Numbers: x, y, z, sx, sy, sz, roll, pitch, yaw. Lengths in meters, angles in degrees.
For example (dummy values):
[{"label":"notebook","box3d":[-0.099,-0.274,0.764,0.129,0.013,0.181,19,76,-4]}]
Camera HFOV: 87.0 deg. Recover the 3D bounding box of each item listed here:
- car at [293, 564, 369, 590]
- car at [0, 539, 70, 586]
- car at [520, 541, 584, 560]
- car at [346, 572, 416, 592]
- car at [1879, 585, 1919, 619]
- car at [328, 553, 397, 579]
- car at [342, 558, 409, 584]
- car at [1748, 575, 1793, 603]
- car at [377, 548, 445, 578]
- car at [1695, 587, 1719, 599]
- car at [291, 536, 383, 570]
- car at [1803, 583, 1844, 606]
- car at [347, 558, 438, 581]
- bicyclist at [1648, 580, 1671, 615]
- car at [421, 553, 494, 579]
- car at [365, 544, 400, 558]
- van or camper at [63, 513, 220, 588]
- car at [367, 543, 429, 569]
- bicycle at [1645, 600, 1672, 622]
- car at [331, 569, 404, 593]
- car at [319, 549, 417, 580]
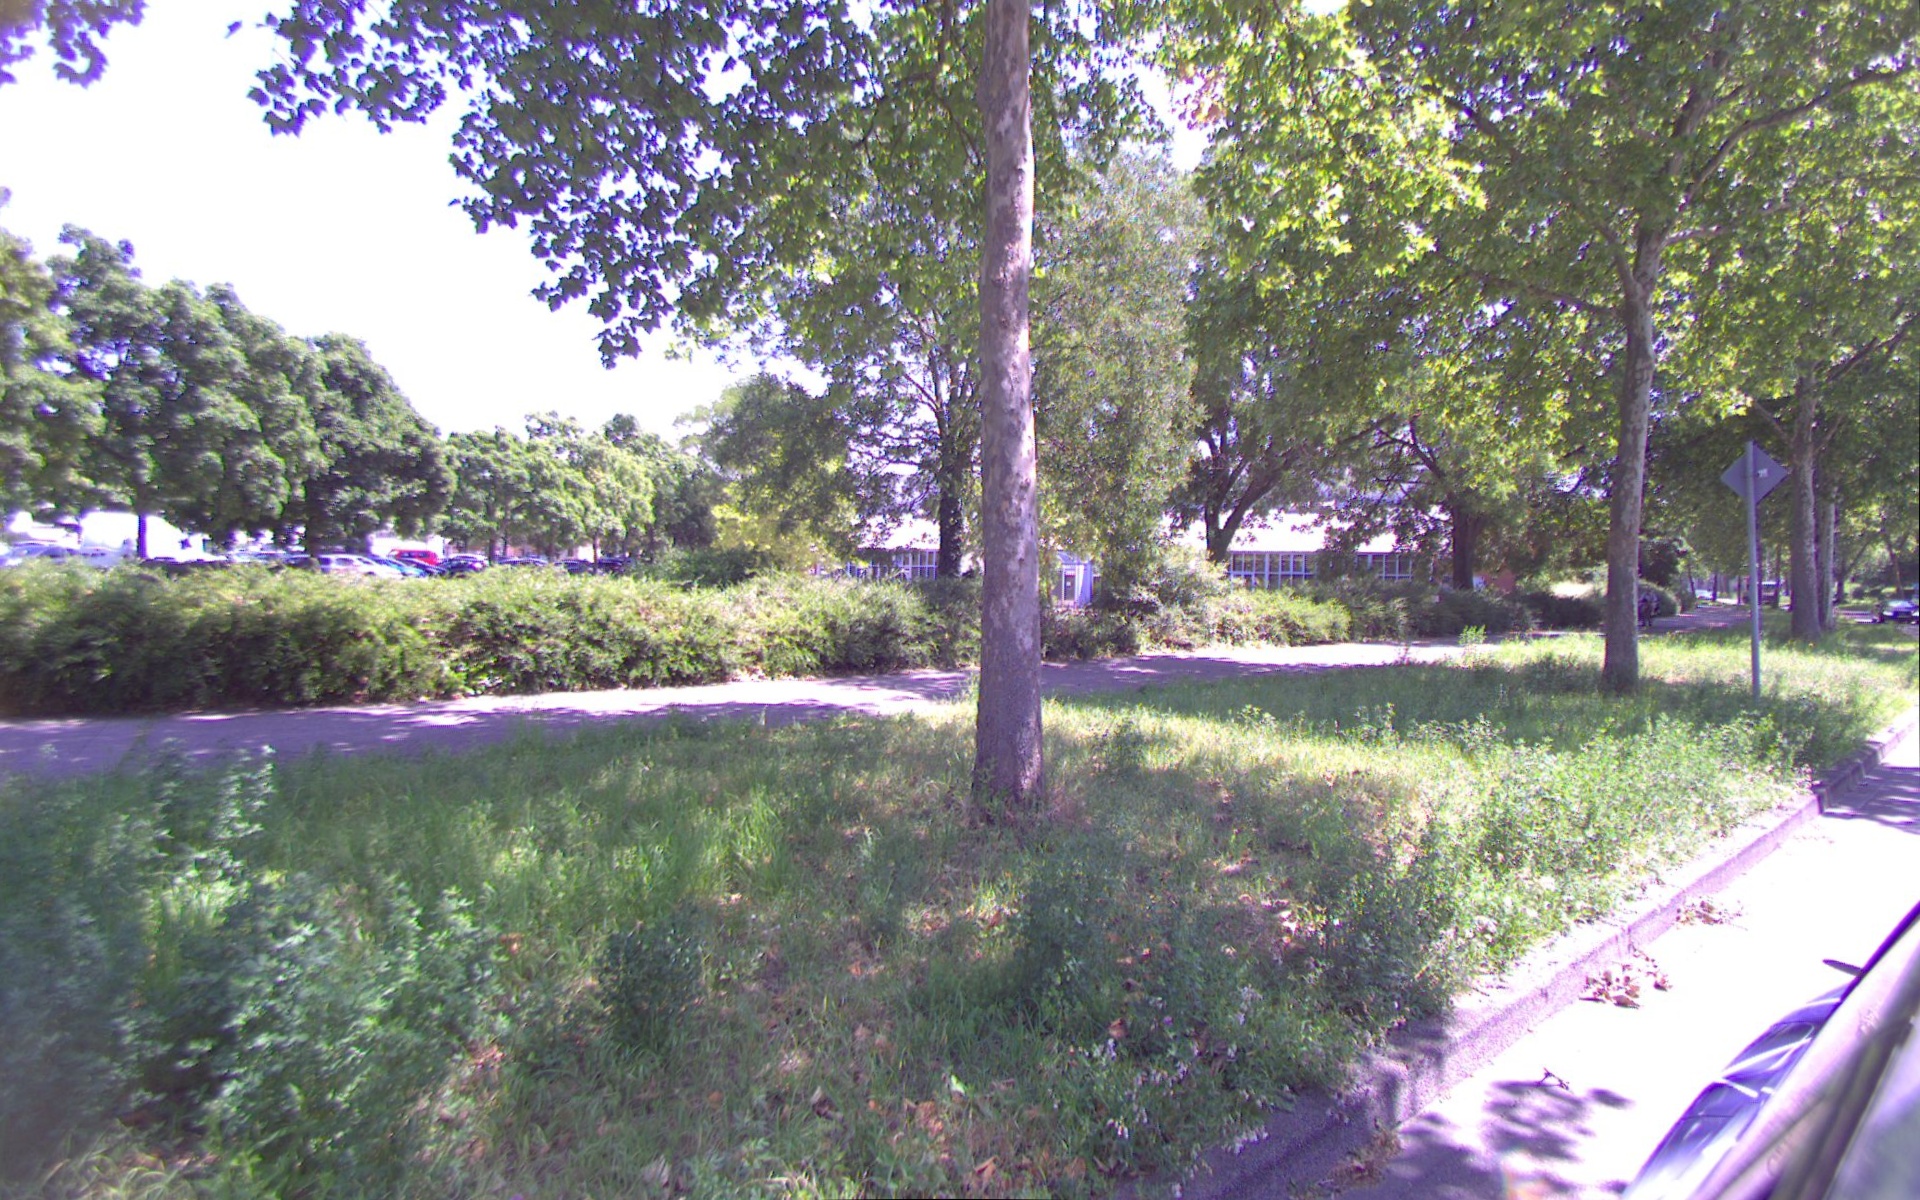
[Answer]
[{"label":"car","box3d":[-26.301,-0.958,42.367,2.547,1.049,0.955,1,1,-8]},{"label":"car","box3d":[-36.521,-1.434,38.423,1.919,1.739,4.073,1,1,-1]},{"label":"car","box3d":[-62.155,-7.506,154.366,8.647,2.620,3.054,1,1,-9]},{"label":"car","box3d":[-25.837,-0.809,45.169,2.547,0.852,0.955,1,1,-8]},{"label":"car","box3d":[55.078,0.095,58.737,1.987,1.905,3.951,2,2,34]},{"label":"car","box3d":[-27.512,-1.543,46.622,2.547,1.141,1.008,1,1,-8]},{"label":"car","box3d":[-27.520,-1.375,47.690,2.547,1.141,0.955,1,1,-8]},{"label":"car","box3d":[84.220,-1.171,105.270,2.898,2.687,6.293,2,2,32]},{"label":"car","box3d":[-40.819,-2.771,75.322,3.920,2.039,1.969,-2,-1,-6]},{"label":"car","box3d":[94.634,-0.856,128.206,1.491,1.404,3.405,2,1,21]},{"label":"car","box3d":[-38.796,-2.908,63.143,4.334,2.038,2.249,1,1,-5]},{"label":"car","box3d":[72.186,-0.483,84.616,1.985,1.816,3.955,2,2,32]},{"label":"car","box3d":[-27.497,-1.468,49.123,3.494,1.047,1.685,1,2,-8]},{"label":"bicyclist","box3d":[27.305,-0.096,39.509,0.655,1.355,0.600,0,1,-42]},{"label":"car","box3d":[-28.609,-1.928,57.732,3.357,1.383,1.720,1,1,-8]},{"label":"car","box3d":[-69.969,-5.933,122.652,1.433,1.638,3.326,2,2,35]},{"label":"van or camper","box3d":[-32.487,-1.919,40.392,2.161,2.785,5.131,1,2,0]},{"label":"car","box3d":[-75.858,-5.908,136.803,7.056,3.221,3.197,0,1,-24]},{"label":"bicycle","box3d":[27.237,0.422,39.460,1.640,0.773,0.464,-1,2,-42]},{"label":"car","box3d":[-25.684,-0.836,43.927,2.547,0.999,0.955,1,1,-8]},{"label":"car","box3d":[-27.260,-1.614,46.660,3.501,1.241,1.622,3,0,-8]}]
